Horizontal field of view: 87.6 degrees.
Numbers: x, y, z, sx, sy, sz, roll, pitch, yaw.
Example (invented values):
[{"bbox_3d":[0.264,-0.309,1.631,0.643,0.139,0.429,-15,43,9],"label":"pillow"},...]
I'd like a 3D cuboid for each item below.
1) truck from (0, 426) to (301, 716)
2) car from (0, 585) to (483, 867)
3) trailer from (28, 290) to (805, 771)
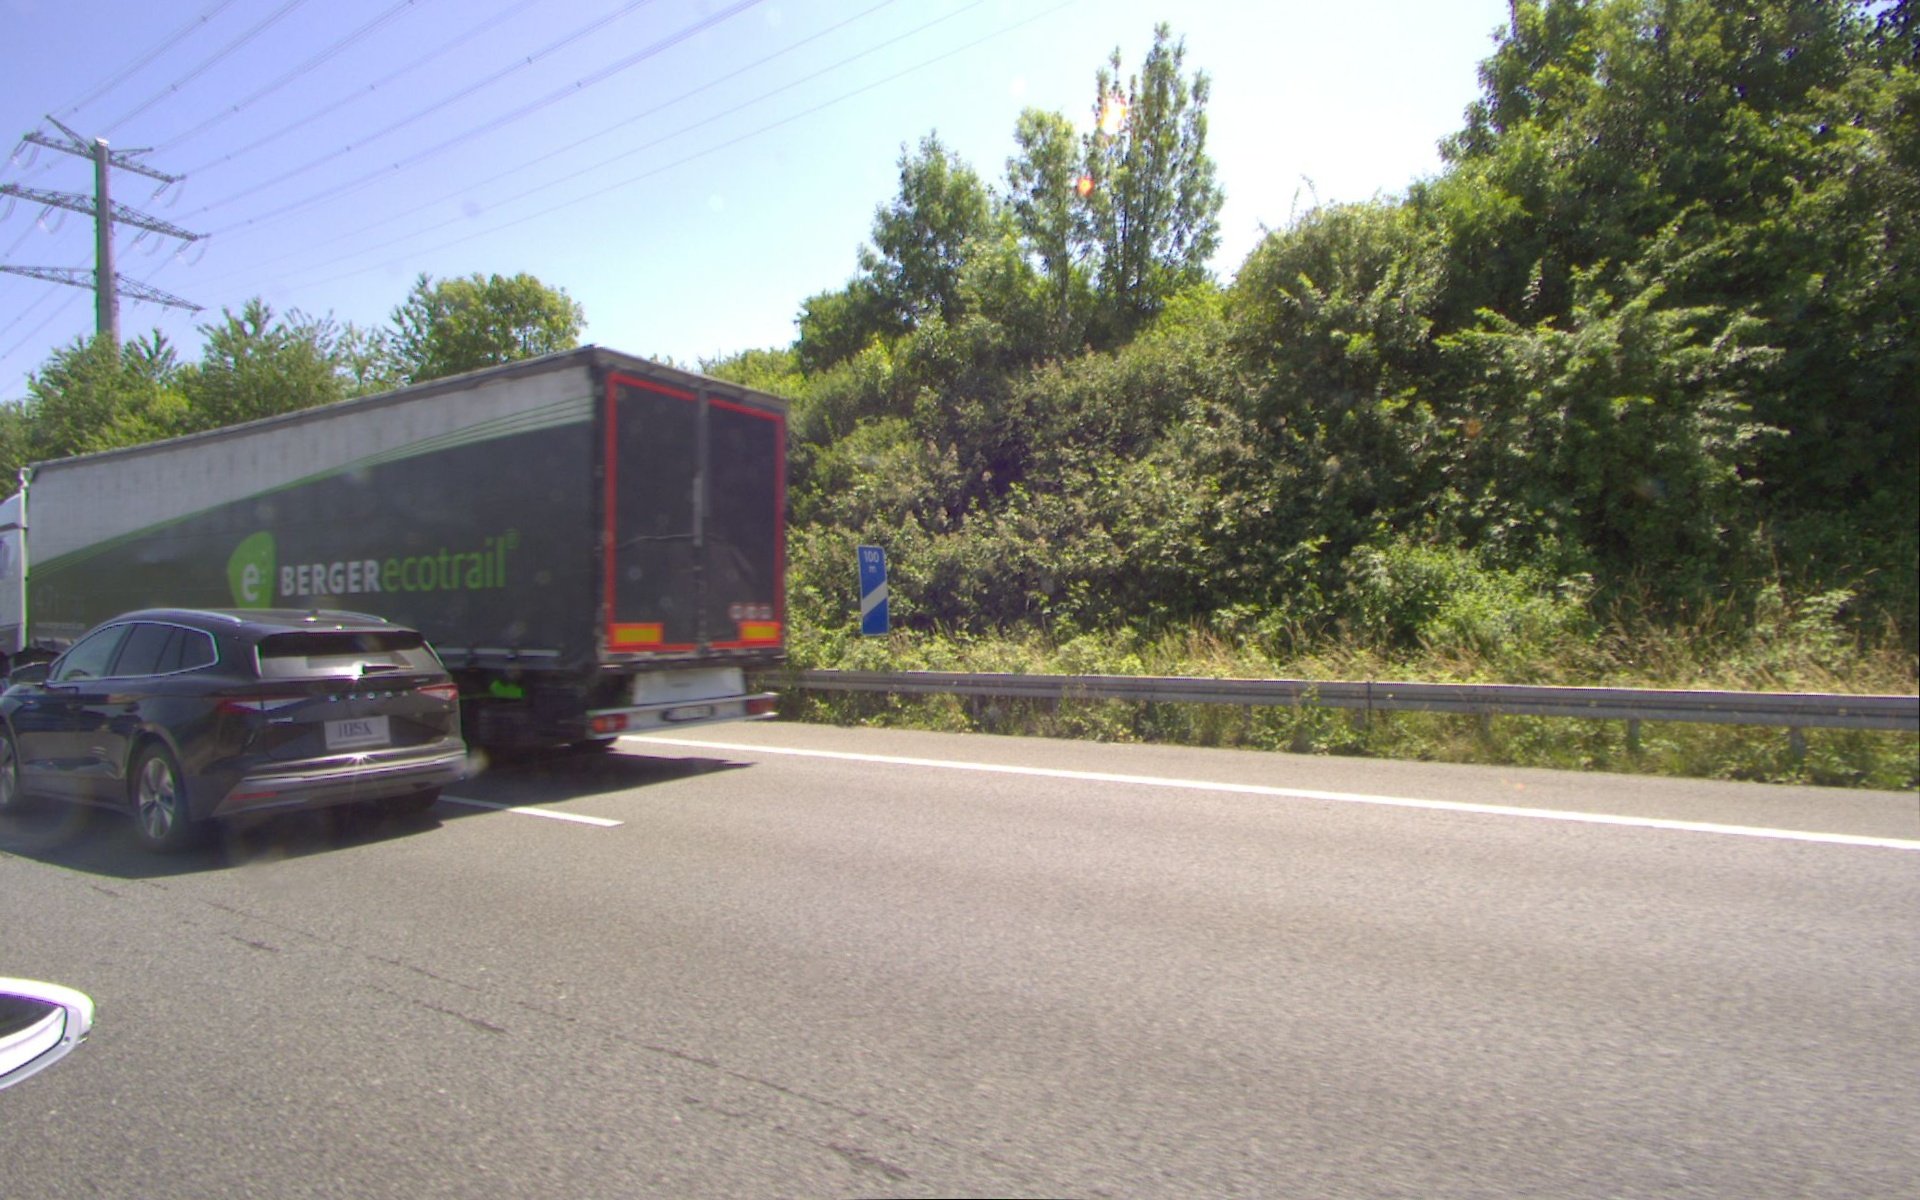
[{"bbox_3d":[-13.994,-0.309,16.779,5.709,4.099,2.729,-1,-2,31],"label":"truck"},{"bbox_3d":[-5.830,0.819,7.825,4.365,1.676,1.698,-1,-2,31],"label":"car"},{"bbox_3d":[-7.920,-0.423,13.071,12.921,4.098,2.780,-1,-2,31],"label":"trailer"}]
